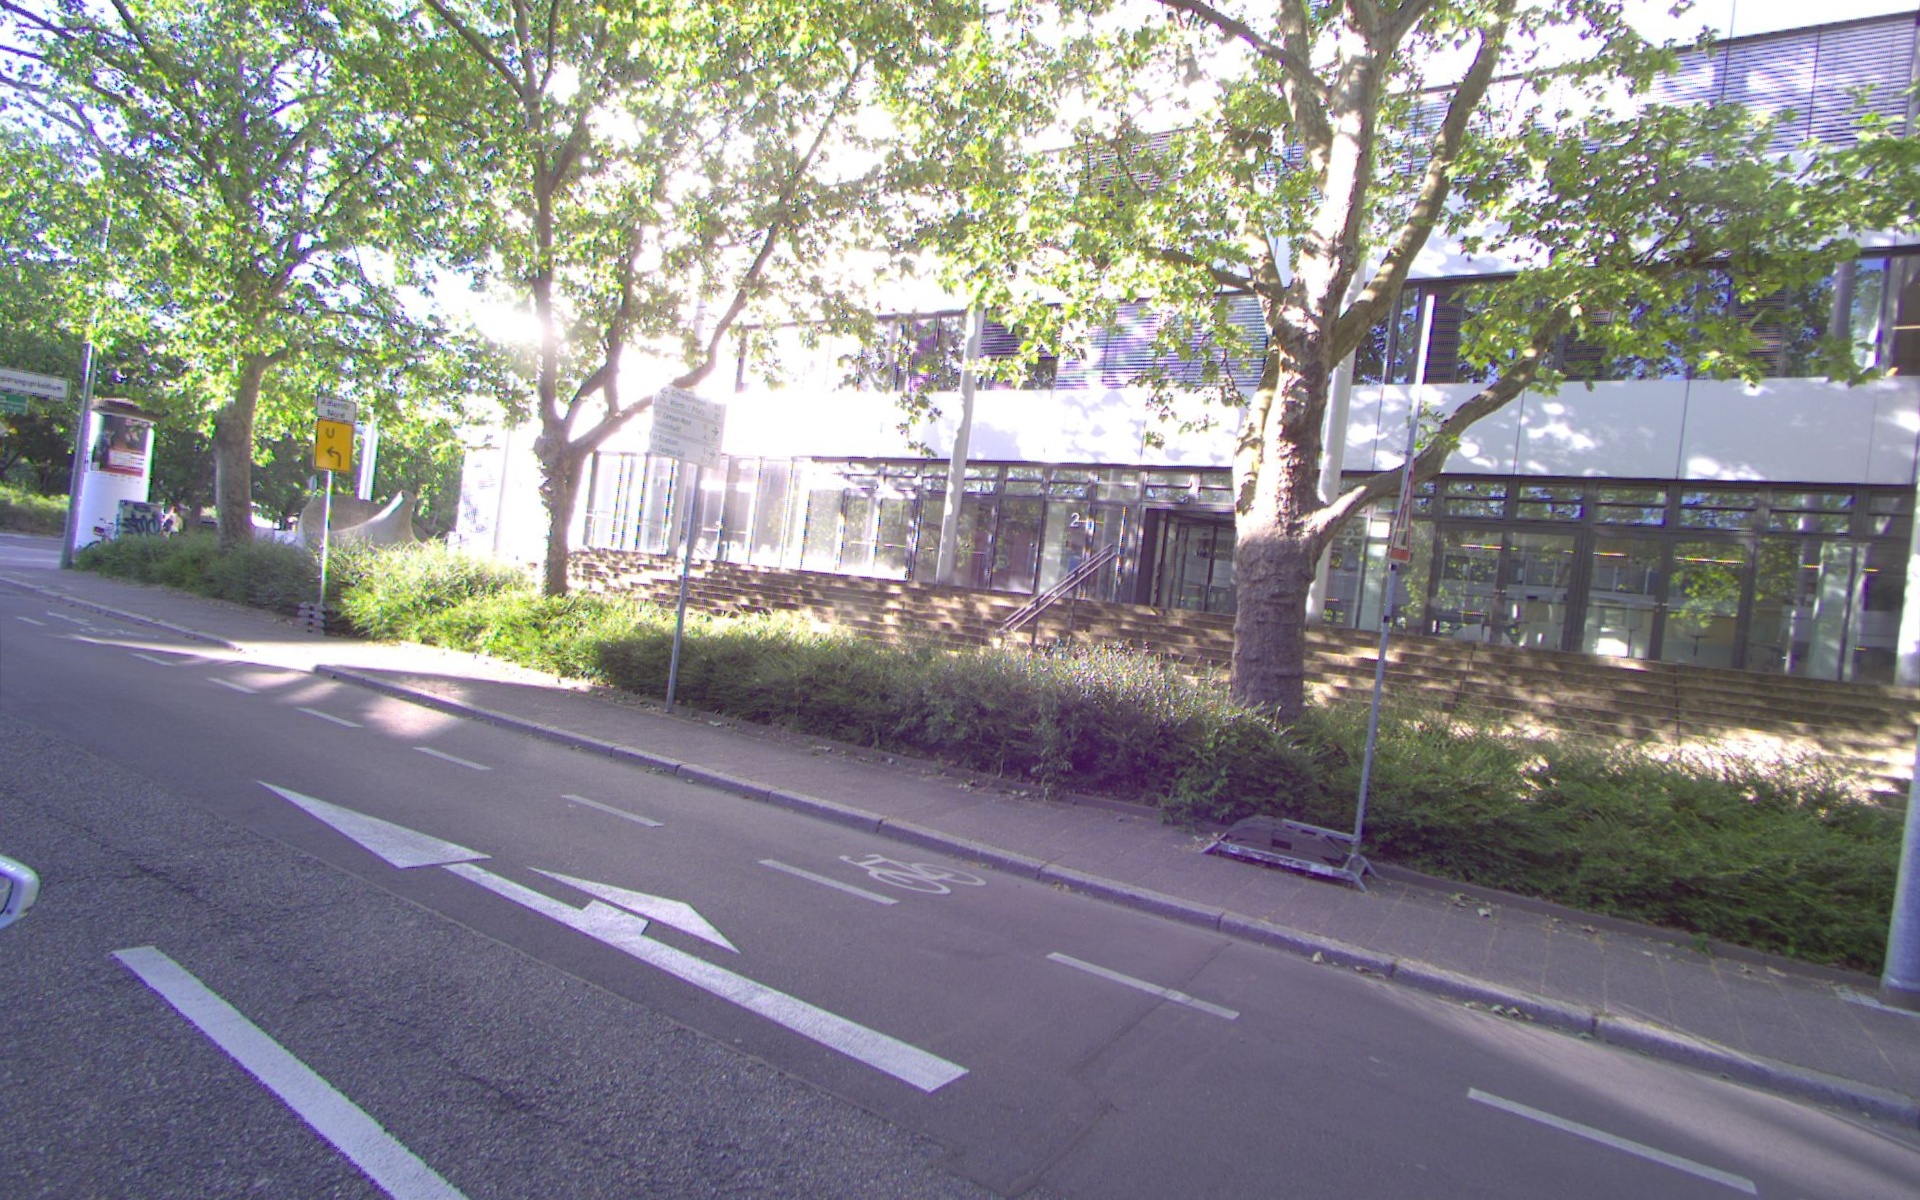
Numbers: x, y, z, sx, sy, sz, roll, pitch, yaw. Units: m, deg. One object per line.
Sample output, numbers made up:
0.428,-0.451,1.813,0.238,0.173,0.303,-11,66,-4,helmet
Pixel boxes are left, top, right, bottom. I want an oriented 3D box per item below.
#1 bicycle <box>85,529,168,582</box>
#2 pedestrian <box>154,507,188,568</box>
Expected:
-19.226,-1.013,23.236,0.357,1.036,1.354,7,-1,33,bicycle
-25.687,-2.033,32.745,0.584,1.871,0.552,7,0,33,pedestrian
